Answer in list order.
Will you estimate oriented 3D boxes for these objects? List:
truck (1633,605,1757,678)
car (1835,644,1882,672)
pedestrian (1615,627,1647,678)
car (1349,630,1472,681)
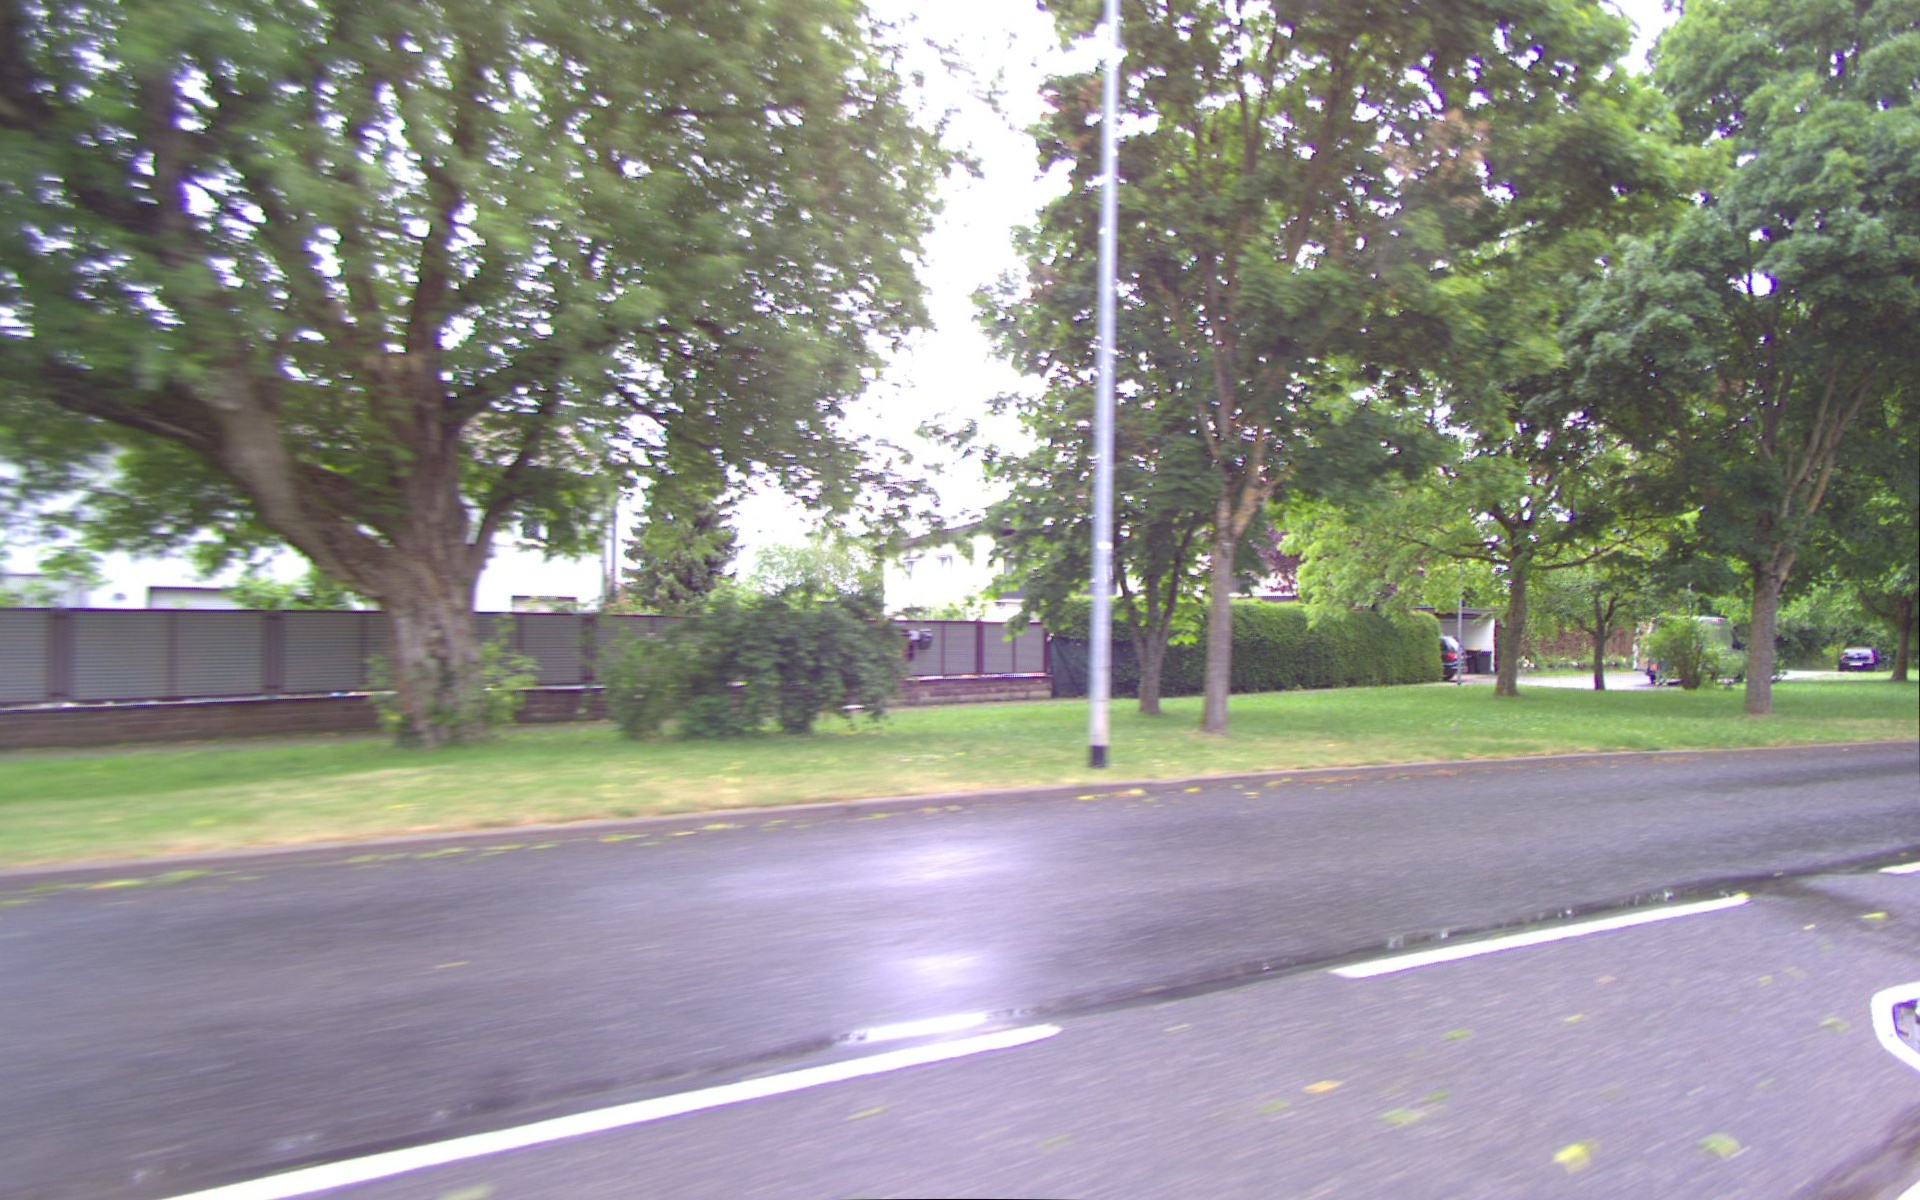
[{"bbox_3d":[28.251,1.581,38.549,5.820,2.631,2.268,2,-2,-37],"label":"truck"},{"bbox_3d":[51.085,3.285,57.081,3.085,1.550,1.467,2,-2,-38],"label":"car"},{"bbox_3d":[24.826,1.922,37.163,0.816,1.865,0.704,1,-2,-36],"label":"pedestrian"},{"bbox_3d":[17.355,2.117,38.845,1.865,1.840,3.954,2,-2,-40],"label":"car"}]
